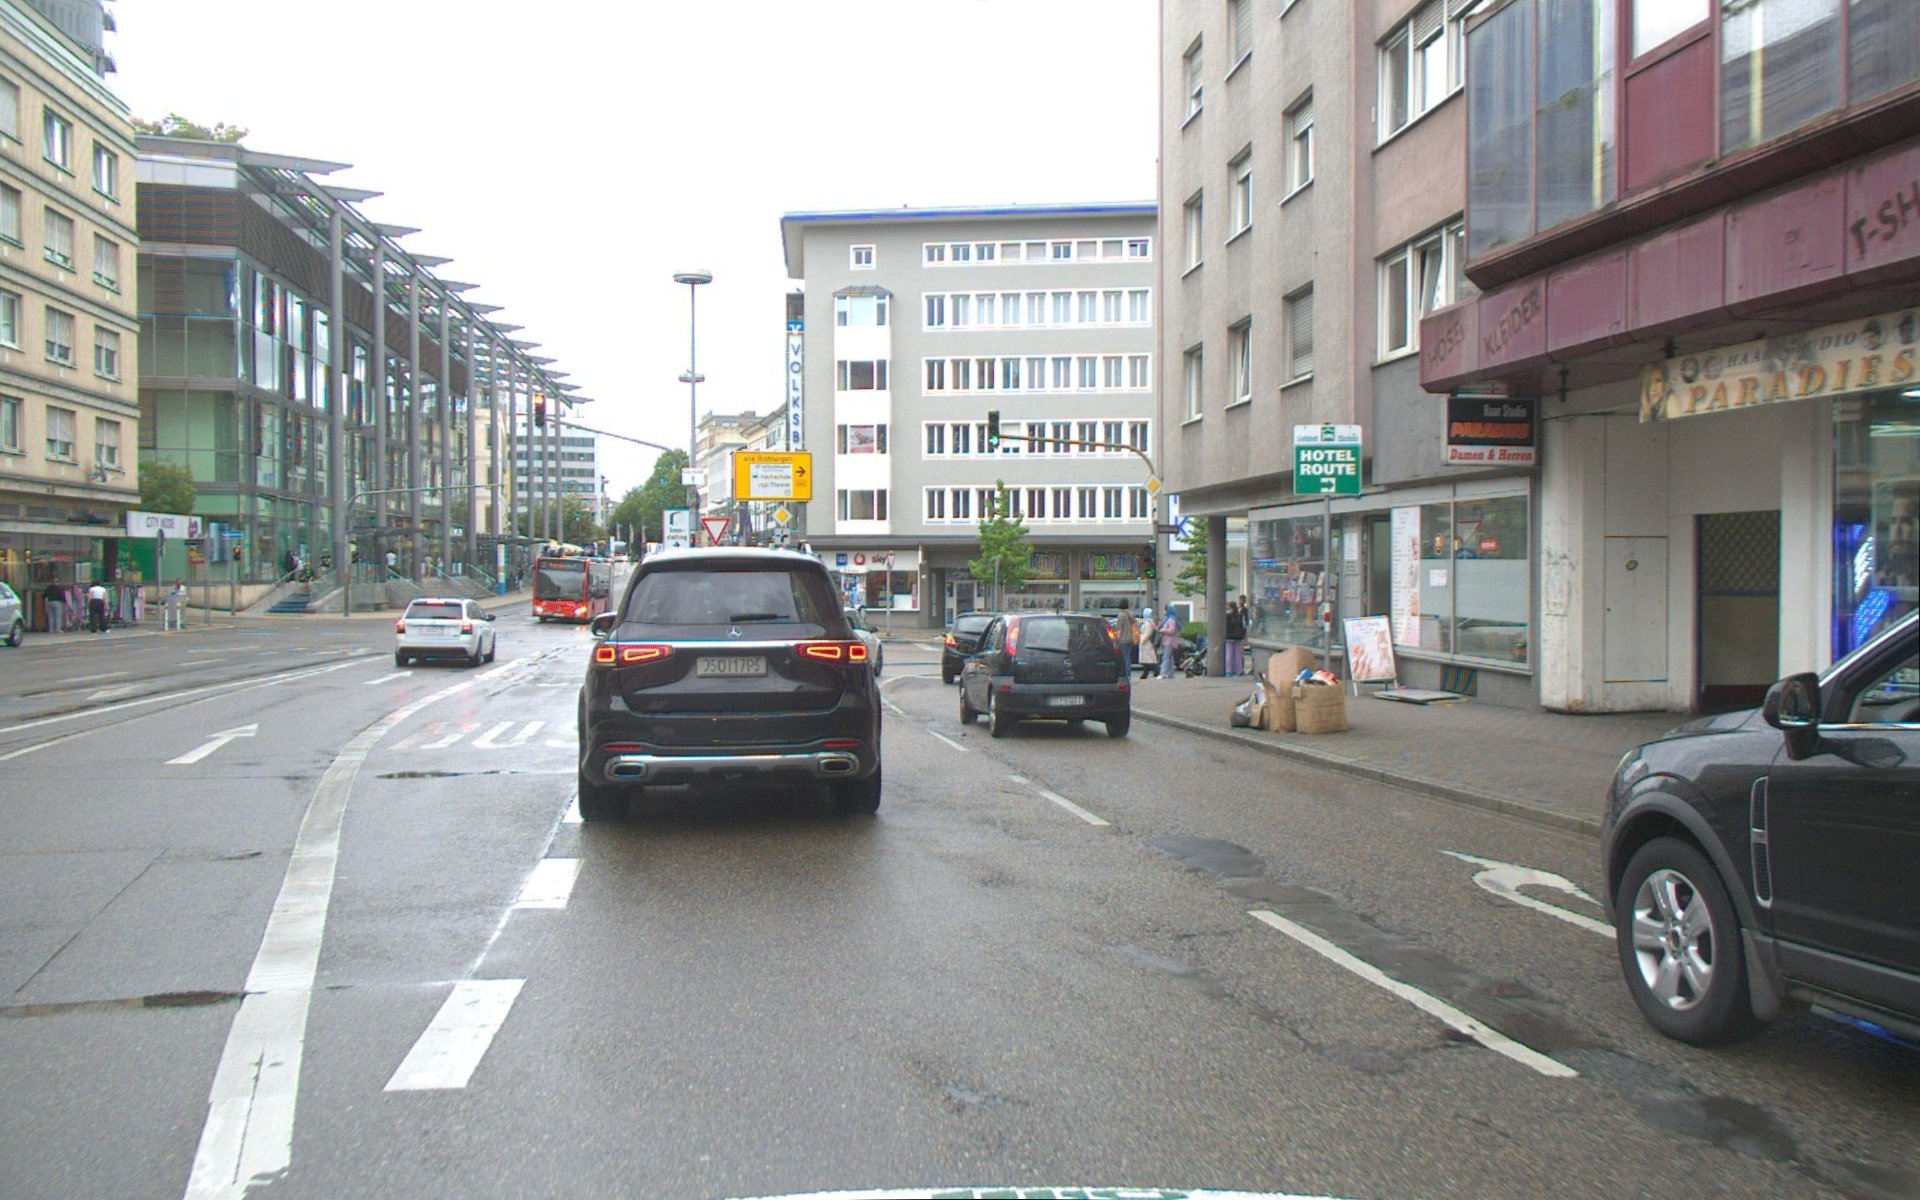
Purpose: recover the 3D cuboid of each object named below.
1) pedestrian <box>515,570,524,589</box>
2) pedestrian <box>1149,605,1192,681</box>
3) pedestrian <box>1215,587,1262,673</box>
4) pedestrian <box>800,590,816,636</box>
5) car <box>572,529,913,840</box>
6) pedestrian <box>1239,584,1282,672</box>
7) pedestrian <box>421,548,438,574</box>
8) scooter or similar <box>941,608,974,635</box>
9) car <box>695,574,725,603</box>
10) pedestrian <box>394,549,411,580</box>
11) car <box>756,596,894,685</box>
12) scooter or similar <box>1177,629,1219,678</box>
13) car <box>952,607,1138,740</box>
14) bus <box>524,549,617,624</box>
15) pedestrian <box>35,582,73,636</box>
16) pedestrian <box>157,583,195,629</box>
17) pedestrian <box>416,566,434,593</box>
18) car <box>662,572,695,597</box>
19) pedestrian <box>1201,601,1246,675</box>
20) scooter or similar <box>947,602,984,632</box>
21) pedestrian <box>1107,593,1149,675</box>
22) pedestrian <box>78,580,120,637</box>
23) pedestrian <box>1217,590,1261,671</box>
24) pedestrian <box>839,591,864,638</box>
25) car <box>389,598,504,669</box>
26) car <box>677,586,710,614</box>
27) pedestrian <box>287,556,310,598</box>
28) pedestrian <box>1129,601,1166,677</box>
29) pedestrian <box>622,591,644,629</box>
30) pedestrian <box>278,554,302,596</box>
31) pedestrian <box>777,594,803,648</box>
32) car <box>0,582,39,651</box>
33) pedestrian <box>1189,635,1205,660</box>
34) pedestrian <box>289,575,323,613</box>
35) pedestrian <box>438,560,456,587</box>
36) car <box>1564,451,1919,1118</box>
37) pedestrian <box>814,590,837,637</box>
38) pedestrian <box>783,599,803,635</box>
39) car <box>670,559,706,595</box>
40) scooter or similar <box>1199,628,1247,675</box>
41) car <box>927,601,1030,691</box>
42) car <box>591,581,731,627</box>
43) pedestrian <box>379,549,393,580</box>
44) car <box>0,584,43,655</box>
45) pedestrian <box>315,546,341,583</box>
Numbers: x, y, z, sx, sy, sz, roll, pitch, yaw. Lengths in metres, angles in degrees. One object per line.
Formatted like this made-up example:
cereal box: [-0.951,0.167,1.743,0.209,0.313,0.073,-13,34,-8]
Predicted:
pedestrian: [-31.276,-1.446,117.405,0.500,1.364,0.419,2,0,-6]
pedestrian: [4.727,0.963,37.162,0.730,1.664,0.594,-4,-4,33]
pedestrian: [6.378,0.699,37.925,0.819,1.898,0.657,-2,-3,-4]
pedestrian: [-5.745,0.495,62.453,0.557,1.698,0.501,1,0,-2]
car: [-1.778,0.469,12.380,2.051,1.848,4.779,0,1,-12]
pedestrian: [6.760,0.629,37.205,0.801,1.965,0.732,-1,-1,-1]
pedestrian: [-37.094,-2.708,115.733,1.021,1.743,1.004,1,0,-14]
scooter or similar: [-0.107,0.942,72.867,1.350,1.208,0.544,0,0,11]
car: [-16.964,-0.759,112.155,1.827,1.858,4.093,2,0,-11]
pedestrian: [-32.094,-2.063,95.182,0.813,1.743,0.799,1,0,-14]
car: [-2.736,0.790,34.473,1.908,1.601,4.004,2,2,9]
scooter or similar: [5.714,1.274,39.740,0.949,1.128,0.655,-2,-1,10]
car: [0.936,0.842,20.162,1.684,1.445,3.765,1,-1,-6]
bus: [-19.685,-0.613,84.683,2.865,3.379,18.444,1,0,-8]
pedestrian: [-26.914,0.267,49.143,0.771,1.563,0.680,2,0,-11]
pedestrian: [-27.940,0.196,58.922,0.854,1.614,1.153,1,0,-5]
pedestrian: [-34.995,-1.335,108.225,1.021,1.743,1.004,1,0,-14]
car: [-21.786,-1.165,128.117,2.378,1.811,5.144,2,0,-9]
pedestrian: [6.313,0.901,39.630,1.013,1.753,0.839,-1,-1,8]
scooter or similar: [0.256,0.787,74.688,1.465,1.279,0.931,1,-2,11]
pedestrian: [3.570,0.722,35.075,0.614,1.722,0.781,-2,-2,27]
pedestrian: [-25.729,0.258,49.430,0.760,1.656,0.841,1,0,38]
pedestrian: [6.119,0.669,36.282,0.818,1.753,0.617,-1,-3,-1]
pedestrian: [-4.189,0.555,63.823,0.816,1.809,0.615,2,0,-15]
car: [-11.344,0.694,36.801,1.759,1.440,4.622,1,0,-9]
car: [-15.623,0.013,96.942,1.704,1.554,3.994,2,0,-7]
pedestrian: [-32.661,-1.134,81.677,0.859,2.015,0.848,1,0,-9]
pedestrian: [4.281,0.900,37.826,0.529,1.666,0.836,-3,-4,-9]
pedestrian: [-17.060,0.533,86.223,0.935,1.919,0.810,2,0,-2]
pedestrian: [-32.673,-1.235,80.668,0.864,2.015,0.973,1,0,-9]
pedestrian: [-5.075,0.623,49.431,0.699,1.595,0.854,2,-1,-4]
car: [-22.999,0.374,38.012,1.667,1.590,4.196,1,0,-7]
pedestrian: [5.702,1.147,39.772,0.363,0.581,0.459,-2,-1,11]
pedestrian: [-30.619,-0.284,77.435,1.017,1.743,1.008,1,0,19]
pedestrian: [-33.915,-1.755,109.276,1.021,1.743,1.004,1,0,-14]
car: [3.585,0.503,4.377,1.872,1.816,4.292,0,1,-10]
pedestrian: [-5.097,0.514,62.530,0.765,1.719,0.639,2,0,0]
pedestrian: [-6.302,0.639,62.423,0.619,1.363,0.586,2,0,-14]
car: [-27.702,-2.329,168.553,2.394,3.526,6.154,2,0,2]
scooter or similar: [5.894,1.155,37.100,0.756,1.003,1.046,-1,-3,-9]
car: [0.458,0.912,34.839,1.909,1.601,4.002,2,2,3]
car: [-10.342,0.130,57.525,4.649,1.471,1.788,1,0,-8]
pedestrian: [-32.874,-2.018,94.761,0.669,1.743,0.847,1,0,-14]
car: [-23.039,0.437,38.171,1.813,1.577,4.391,3,1,-9]
pedestrian: [-31.034,-1.736,81.185,1.021,1.743,1.004,1,0,-14]
